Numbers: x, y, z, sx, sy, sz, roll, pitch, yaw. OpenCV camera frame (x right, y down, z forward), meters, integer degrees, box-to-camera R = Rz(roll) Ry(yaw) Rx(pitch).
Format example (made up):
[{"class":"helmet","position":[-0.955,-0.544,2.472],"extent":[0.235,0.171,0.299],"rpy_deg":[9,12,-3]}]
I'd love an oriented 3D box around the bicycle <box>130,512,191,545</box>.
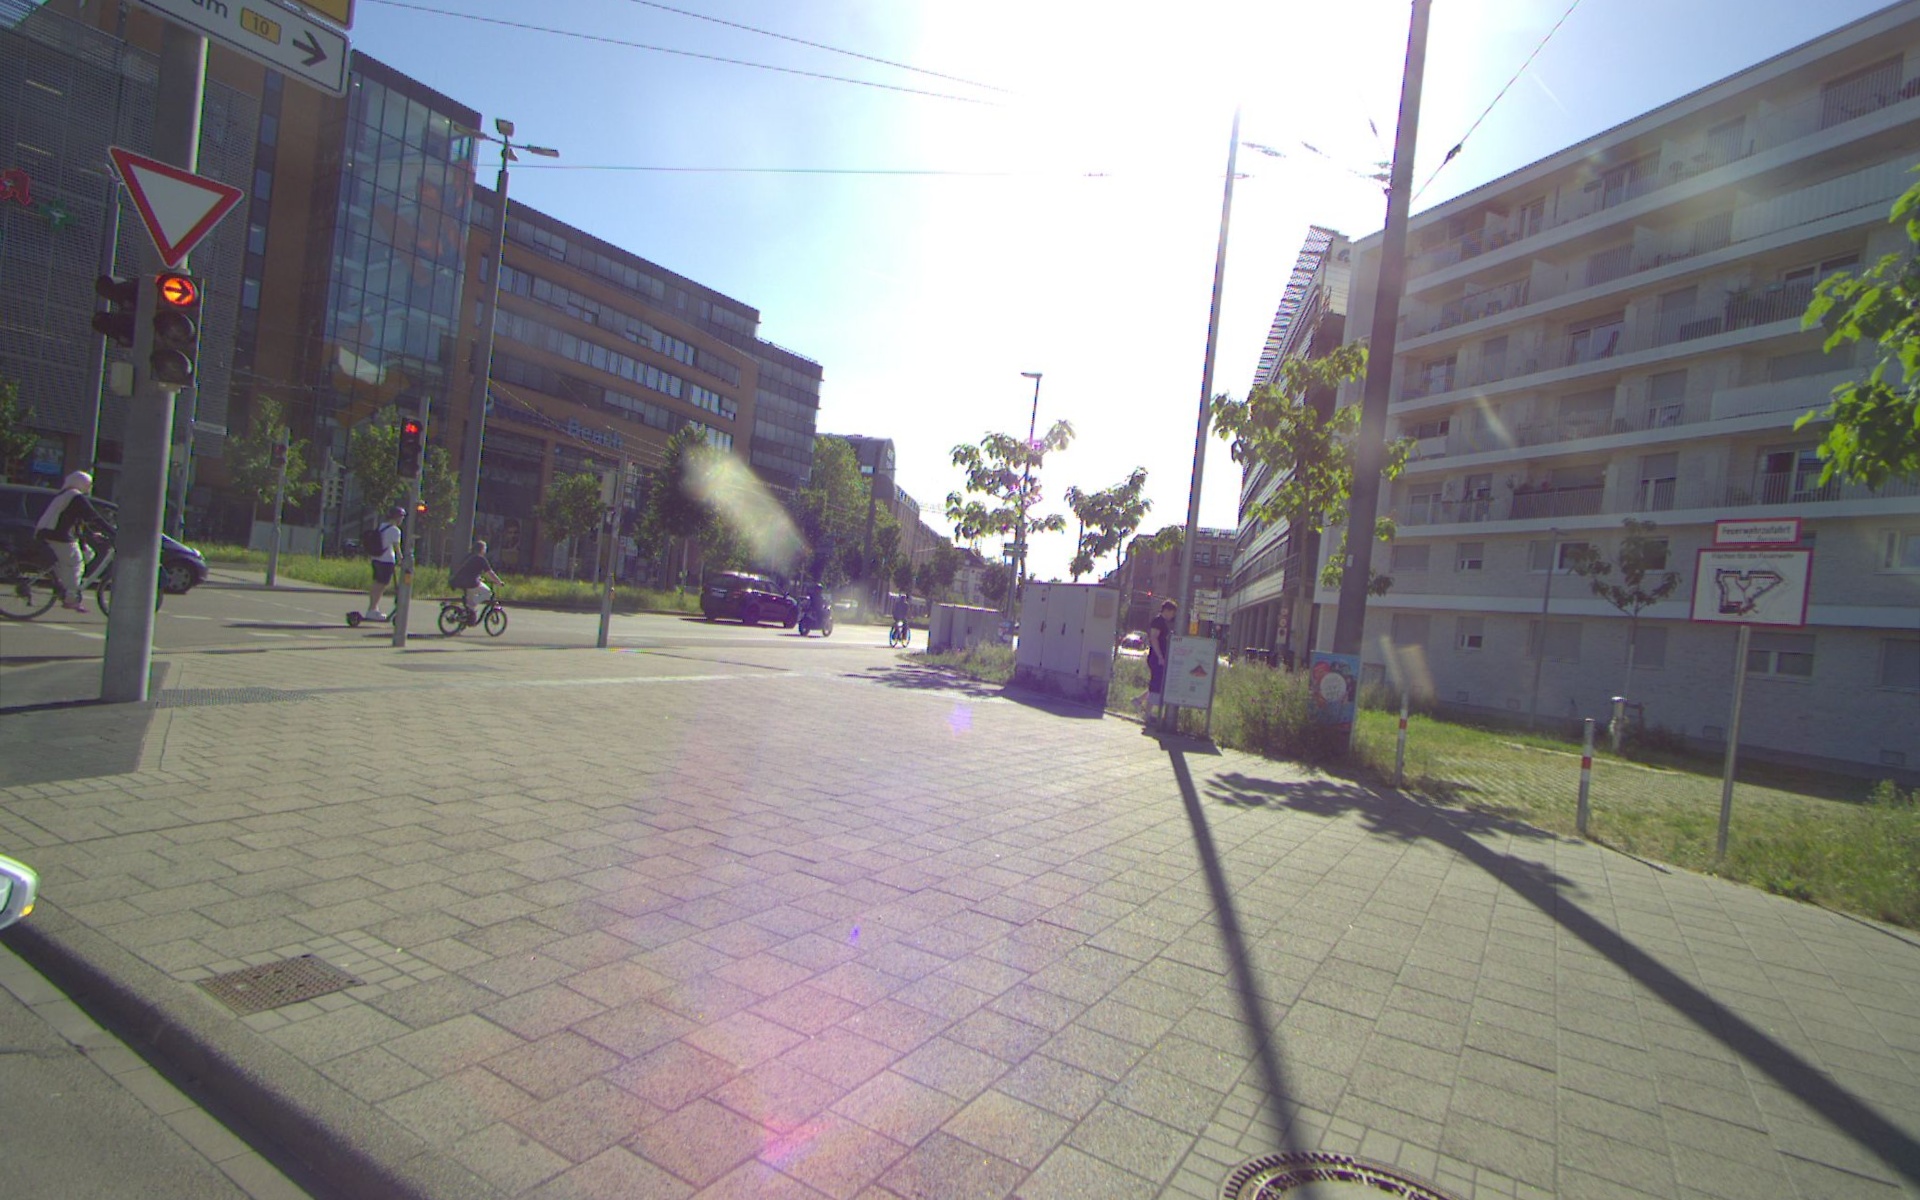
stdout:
[{"class":"bicycle","position":[-40.520,-3.607,51.037],"extent":[0.595,1.310,2.260],"rpy_deg":[7,-2,30]}]

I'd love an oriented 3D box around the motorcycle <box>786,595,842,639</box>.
[{"class":"motorcycle","position":[-4.898,0.596,33.931],"extent":[0.576,1.297,2.270],"rpy_deg":[7,-1,26]}]

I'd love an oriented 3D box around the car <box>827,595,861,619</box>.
[{"class":"car","position":[-11.267,0.714,97.880],"extent":[1.806,1.661,4.314],"rpy_deg":[7,-4,12]}]

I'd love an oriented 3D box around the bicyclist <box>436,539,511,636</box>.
[{"class":"bicyclist","position":[-8.601,-0.205,17.817],"extent":[0.563,1.585,0.886],"rpy_deg":[7,-1,22]}]

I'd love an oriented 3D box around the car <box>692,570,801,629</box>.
[{"class":"car","position":[-7.450,0.025,35.529],"extent":[1.616,1.665,4.200],"rpy_deg":[7,-1,20]}]

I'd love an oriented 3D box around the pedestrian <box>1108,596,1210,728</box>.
[{"class":"pedestrian","position":[2.830,0.872,14.385],"extent":[0.970,1.719,0.842],"rpy_deg":[6,2,-16]}]

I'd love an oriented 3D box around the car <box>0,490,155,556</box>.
[{"class":"car","position":[-32.071,-2.765,36.330],"extent":[1.810,1.484,4.161],"rpy_deg":[6,-5,30]}]

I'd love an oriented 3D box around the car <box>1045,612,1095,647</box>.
[{"class":"car","position":[6.129,1.667,55.591],"extent":[1.677,1.515,4.281],"rpy_deg":[7,-2,19]}]

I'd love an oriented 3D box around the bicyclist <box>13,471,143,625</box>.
[{"class":"bicyclist","position":[-10.737,-0.618,12.263],"extent":[0.563,1.727,0.885],"rpy_deg":[7,-1,25]}]

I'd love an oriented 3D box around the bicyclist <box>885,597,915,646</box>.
[{"class":"bicyclist","position":[-2.066,0.763,34.729],"extent":[0.563,1.585,0.886],"rpy_deg":[7,-1,22]}]

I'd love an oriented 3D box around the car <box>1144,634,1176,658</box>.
[{"class":"car","position":[15.427,3.598,77.512],"extent":[1.677,1.515,4.281],"rpy_deg":[7,-2,19]}]

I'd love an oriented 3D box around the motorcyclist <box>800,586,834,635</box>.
[{"class":"motorcyclist","position":[-4.824,0.368,34.035],"extent":[0.576,1.554,0.902],"rpy_deg":[7,0,26]}]

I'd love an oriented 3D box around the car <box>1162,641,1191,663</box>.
[{"class":"car","position":[17.917,4.320,83.265],"extent":[1.677,1.515,4.281],"rpy_deg":[7,-2,19]}]

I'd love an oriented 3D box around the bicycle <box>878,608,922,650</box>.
[{"class":"bicycle","position":[-2.047,1.028,34.846],"extent":[0.576,1.271,2.042],"rpy_deg":[7,-2,22]}]

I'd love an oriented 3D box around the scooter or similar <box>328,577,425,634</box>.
[{"class":"scooter or similar","position":[-9.785,0.105,16.907],"extent":[0.603,0.795,1.213],"rpy_deg":[7,-2,22]}]

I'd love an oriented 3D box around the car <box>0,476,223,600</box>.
[{"class":"car","position":[-14.822,-1.054,16.722],"extent":[1.617,1.665,3.700],"rpy_deg":[7,-1,26]}]

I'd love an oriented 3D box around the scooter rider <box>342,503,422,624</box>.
[{"class":"scooter rider","position":[-9.696,-0.596,16.904],"extent":[0.563,1.894,0.787],"rpy_deg":[7,-1,22]}]

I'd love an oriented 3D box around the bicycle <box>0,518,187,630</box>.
[{"class":"bicycle","position":[-10.754,-0.298,12.306],"extent":[0.571,1.150,1.907],"rpy_deg":[7,-2,25]}]

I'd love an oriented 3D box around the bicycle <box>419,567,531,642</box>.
[{"class":"bicycle","position":[-8.602,0.102,17.925],"extent":[0.576,1.150,1.761],"rpy_deg":[7,-2,22]}]
